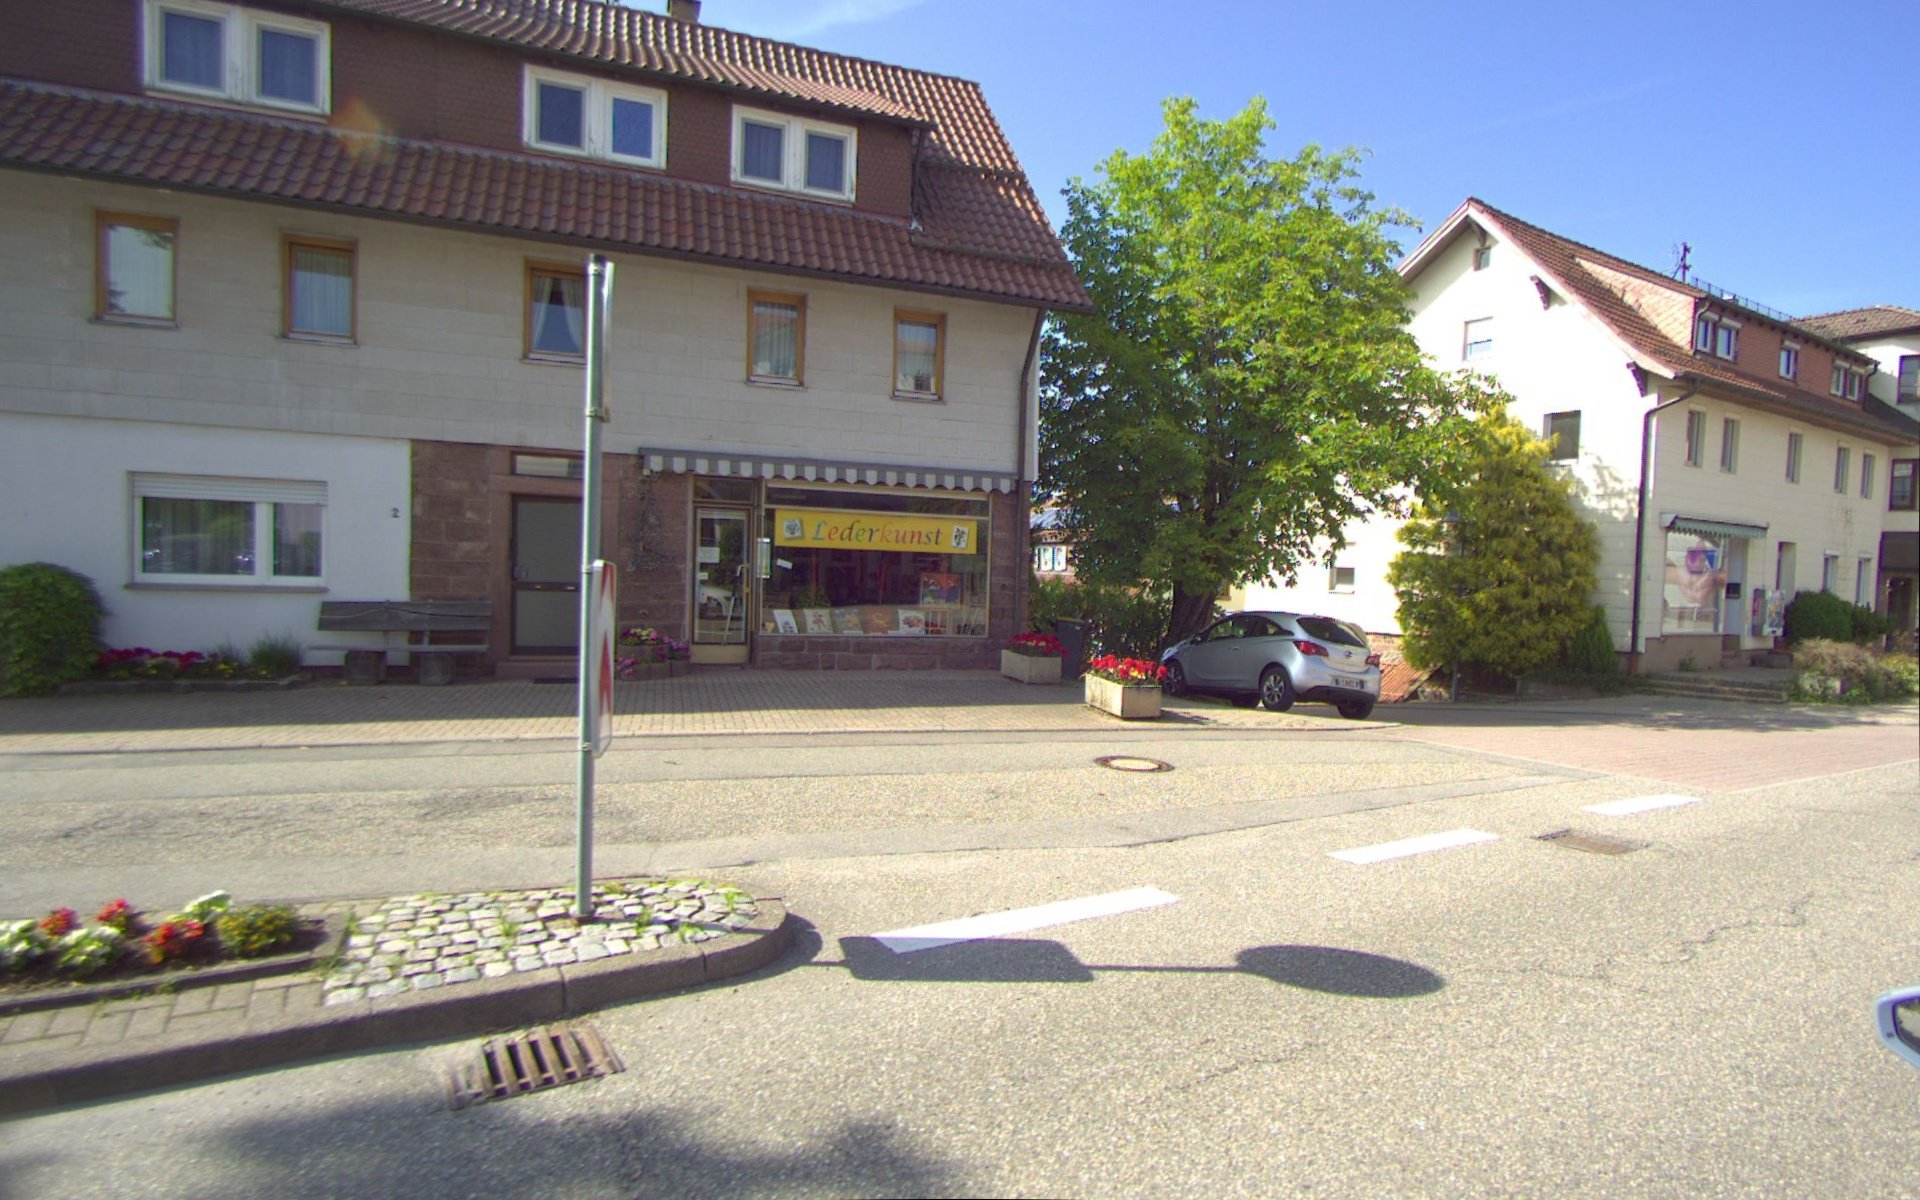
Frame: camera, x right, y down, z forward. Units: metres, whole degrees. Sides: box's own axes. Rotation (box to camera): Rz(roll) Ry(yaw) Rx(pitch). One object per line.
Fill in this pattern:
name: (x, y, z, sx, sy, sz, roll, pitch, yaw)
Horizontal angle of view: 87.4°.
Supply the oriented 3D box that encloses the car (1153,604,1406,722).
car: (4.795, 0.929, 15.651, 1.791, 1.472, 3.755, 6, -3, -19)
